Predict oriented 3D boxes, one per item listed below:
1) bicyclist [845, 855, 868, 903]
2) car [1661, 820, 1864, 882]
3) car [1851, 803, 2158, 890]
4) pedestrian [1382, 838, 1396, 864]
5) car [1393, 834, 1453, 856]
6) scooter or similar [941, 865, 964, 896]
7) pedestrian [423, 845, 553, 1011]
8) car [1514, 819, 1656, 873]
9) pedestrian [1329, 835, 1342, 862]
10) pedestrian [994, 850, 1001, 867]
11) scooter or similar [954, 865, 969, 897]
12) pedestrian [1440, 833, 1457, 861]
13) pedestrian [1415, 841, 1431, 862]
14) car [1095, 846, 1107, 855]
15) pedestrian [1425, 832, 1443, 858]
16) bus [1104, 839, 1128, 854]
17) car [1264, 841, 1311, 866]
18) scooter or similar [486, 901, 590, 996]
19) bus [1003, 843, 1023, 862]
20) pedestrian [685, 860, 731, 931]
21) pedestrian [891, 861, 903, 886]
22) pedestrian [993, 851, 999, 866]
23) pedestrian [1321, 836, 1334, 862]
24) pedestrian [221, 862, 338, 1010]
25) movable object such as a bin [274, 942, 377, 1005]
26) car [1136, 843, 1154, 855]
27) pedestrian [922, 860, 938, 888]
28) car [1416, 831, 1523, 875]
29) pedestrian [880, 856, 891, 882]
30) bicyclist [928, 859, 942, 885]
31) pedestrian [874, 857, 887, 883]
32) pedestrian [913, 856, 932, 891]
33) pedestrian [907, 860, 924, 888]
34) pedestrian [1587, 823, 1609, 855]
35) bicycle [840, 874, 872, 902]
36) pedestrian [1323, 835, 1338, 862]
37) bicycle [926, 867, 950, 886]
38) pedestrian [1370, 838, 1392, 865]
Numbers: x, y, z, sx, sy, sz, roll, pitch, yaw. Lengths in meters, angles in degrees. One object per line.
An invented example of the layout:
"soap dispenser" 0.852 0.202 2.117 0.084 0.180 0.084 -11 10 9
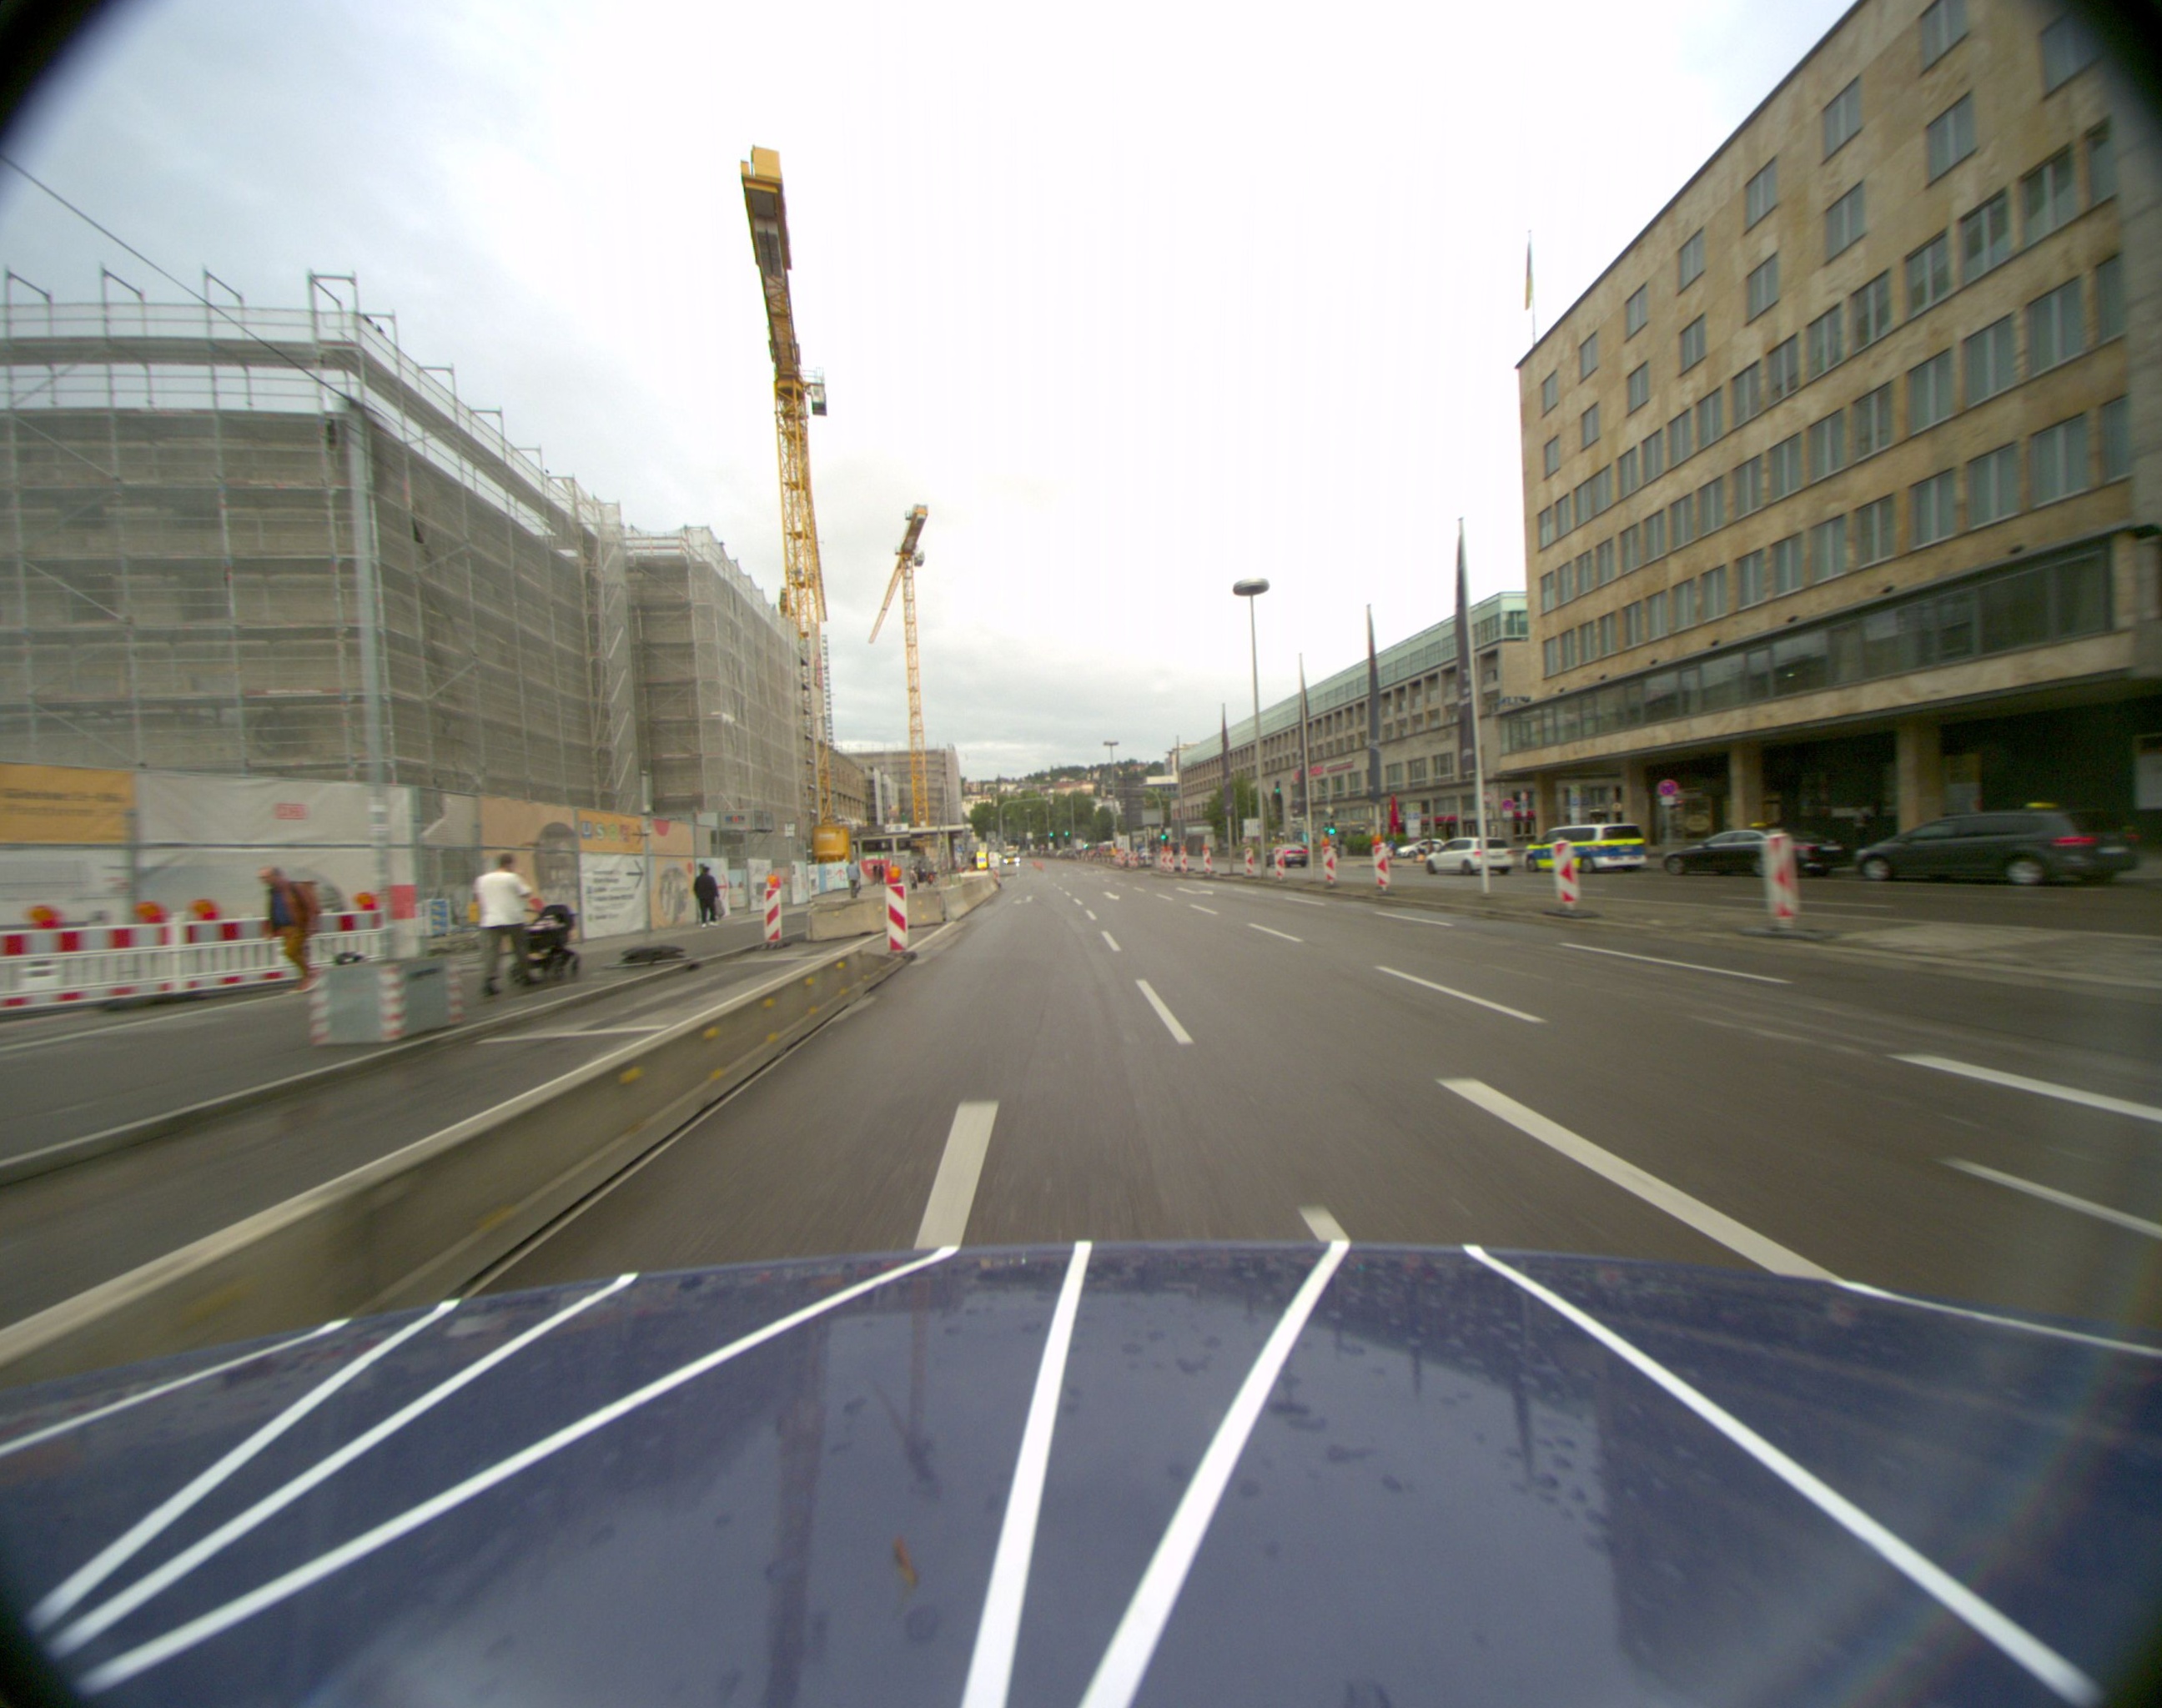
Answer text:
"bicyclist" -9.674 1.071 32.792 0.728 2.002 0.599 -3 1 -1
"car" 20.389 -0.102 23.055 1.759 1.612 4.562 -3 1 -6
"car" 20.840 -0.149 17.481 1.759 1.671 4.227 -3 0 -4
"pedestrian" 19.615 -0.165 48.404 0.451 1.609 0.526 -6 2 -16
"car" 28.141 -0.736 62.606 4.091 1.630 1.806 -3 1 0
"scooter or similar" -5.737 1.182 33.941 0.492 1.326 1.026 -2 1 22
"pedestrian" -7.613 0.912 9.810 0.805 2.005 0.972 -3 1 0
"car" 19.996 -0.257 30.494 1.906 1.917 5.073 -2 0 -6
"pedestrian" 18.217 -0.393 54.422 0.591 1.914 0.751 -3 1 -6
"pedestrian" -10.222 0.514 92.872 0.735 2.002 0.645 -3 1 -11
"scooter or similar" -5.095 1.140 32.340 0.526 1.326 1.024 -3 1 -12
"pedestrian" 22.675 -0.424 46.854 0.564 1.659 0.752 -3 1 -7
"pedestrian" 21.581 -0.136 47.991 0.564 1.284 0.752 -3 1 -7
"car" 3.941 -0.749 150.530 1.887 1.674 3.997 -3 1 -7
"pedestrian" 22.033 -0.573 47.460 0.667 1.583 0.680 -3 1 -21
"bus" 6.984 -1.475 152.945 2.911 2.923 9.815 -3 1 -8
"car" 14.449 -0.058 53.375 1.779 1.659 4.498 -2 0 -4
"scooter or similar" -7.696 1.320 10.822 0.666 1.191 1.044 -3 1 0
"bus" -12.436 -0.244 138.220 3.001 3.120 7.759 -3 1 -8
"pedestrian" -10.252 1.126 20.904 0.850 1.884 0.662 -3 1 -1
"pedestrian" -12.751 1.338 52.685 0.743 1.717 0.714 0 1 -4
"pedestrian" -11.029 0.577 98.330 0.646 1.813 0.735 -2 1 -2
"pedestrian" 17.980 -0.364 55.415 0.715 1.914 0.592 -2 1 36
"pedestrian" -10.755 1.076 10.222 0.769 1.884 0.654 -3 1 3
"movable object such as a bin" -10.513 1.651 10.593 0.598 0.730 0.778 -3 1 5
"car" 9.159 -0.715 108.886 1.759 1.612 3.997 -3 1 -6
"pedestrian" -9.653 1.291 48.586 0.806 1.746 0.814 -1 3 -23
"car" 16.263 -0.044 32.074 1.829 1.659 4.497 -3 1 -6
"pedestrian" -15.679 1.191 60.906 0.629 2.002 0.577 -4 1 -37
"bicyclist" -9.841 1.195 51.288 0.696 1.695 0.434 -2 1 13
"pedestrian" -15.586 1.259 59.089 0.640 2.002 0.628 -2 1 19
"pedestrian" -9.506 1.162 45.625 0.788 2.000 0.865 -2 1 4
"pedestrian" -10.650 1.278 49.030 0.815 1.745 0.881 -3 1 -1
"pedestrian" 30.186 -0.869 44.350 0.717 1.864 0.772 -3 1 0
"bicycle" -9.730 1.461 32.934 0.768 1.105 1.981 -3 1 0
"pedestrian" 18.660 -0.427 56.774 0.705 2.002 0.807 -3 1 -5
"bicycle" -9.718 1.519 51.708 0.755 1.127 1.994 -1 1 14
"pedestrian" 18.992 -0.173 48.106 0.840 1.609 0.788 -6 2 -15
